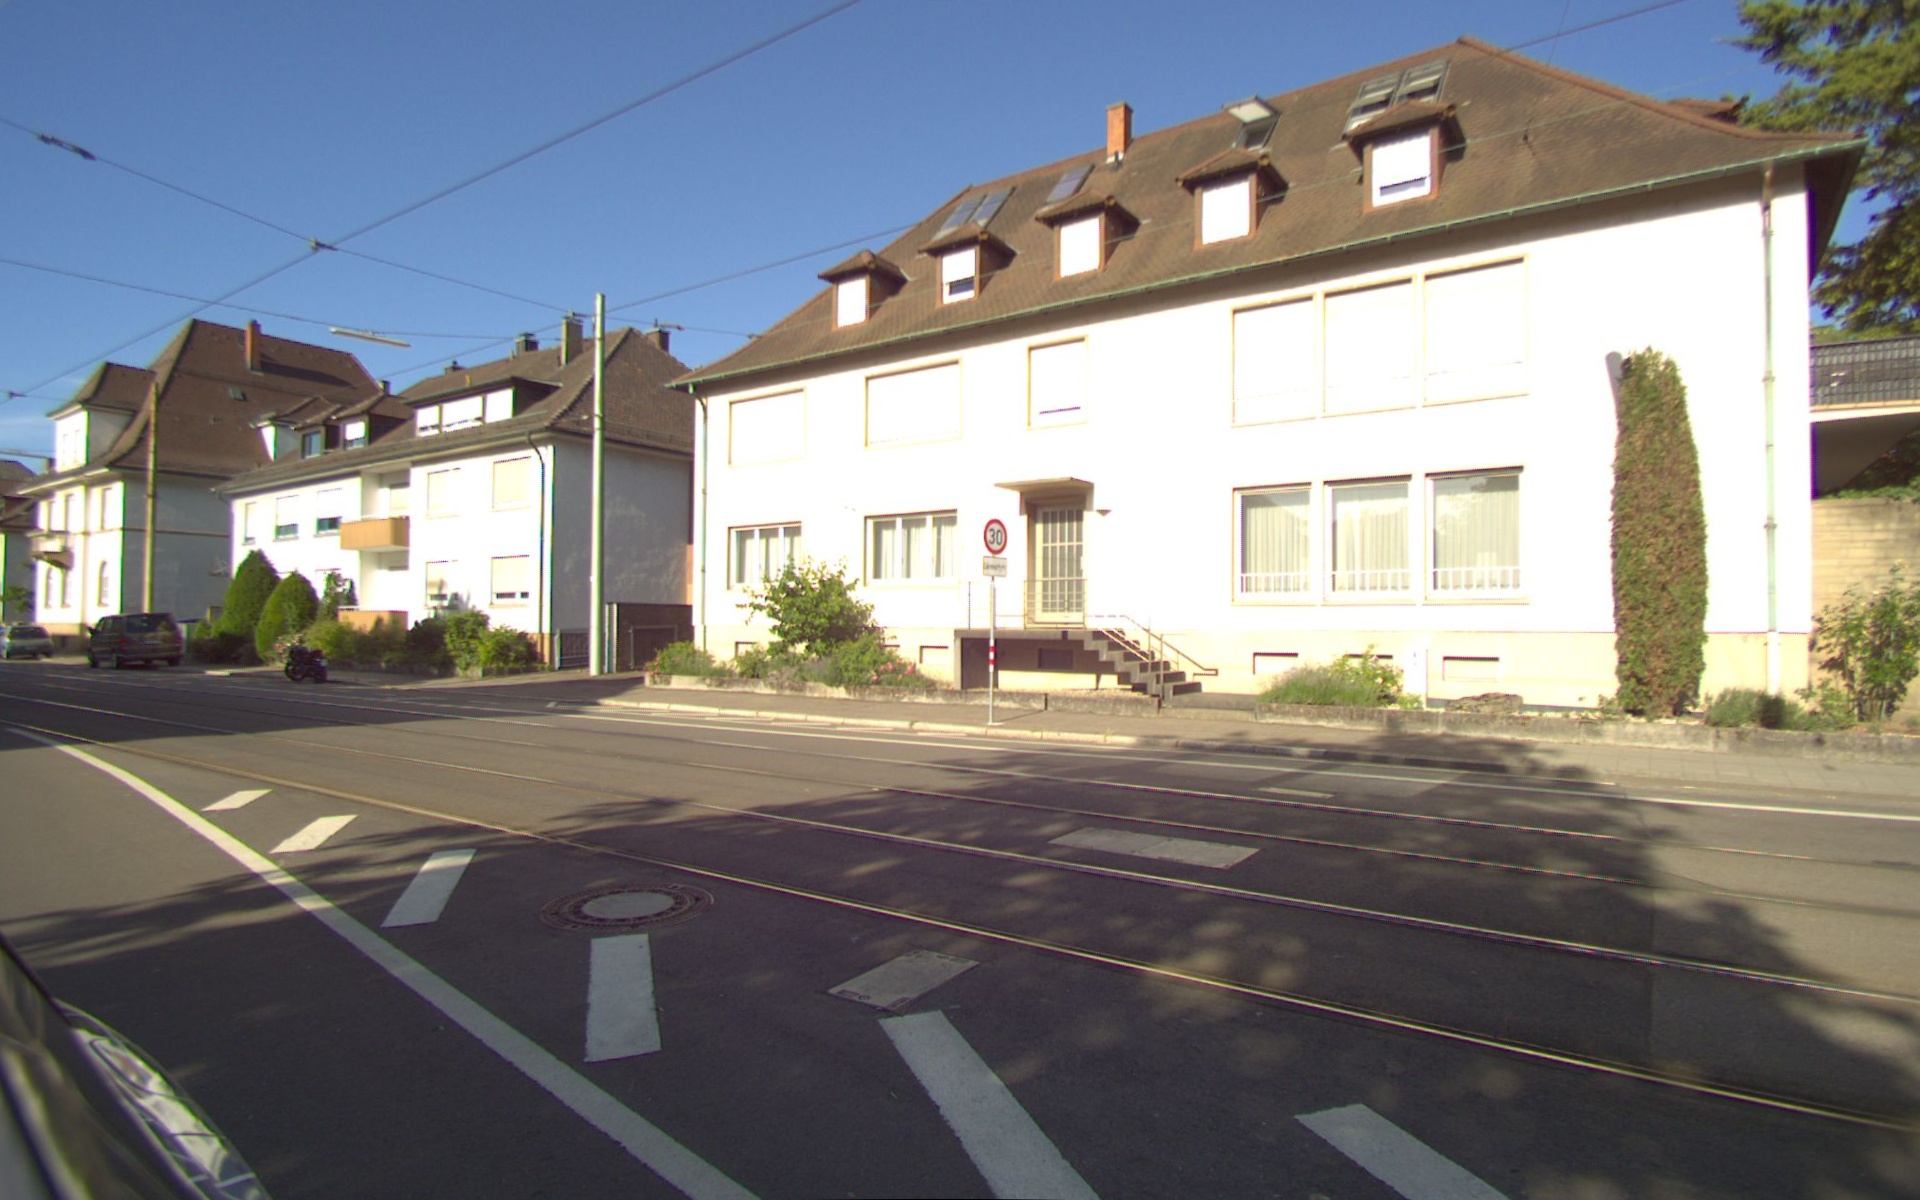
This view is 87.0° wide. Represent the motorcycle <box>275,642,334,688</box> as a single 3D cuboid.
[{"bbox_3d":[-17.862,1.755,27.565,2.167,1.171,0.531,-1,-4,36],"label":"motorcycle"}]

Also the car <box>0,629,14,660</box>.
[{"bbox_3d":[-47.041,2.108,48.310,4.236,1.488,1.650,-1,-2,32],"label":"car"}]

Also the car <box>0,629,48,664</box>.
[{"bbox_3d":[-42.061,2.030,44.854,3.827,1.488,1.662,-1,-1,36],"label":"car"}]

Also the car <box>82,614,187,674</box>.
[{"bbox_3d":[-30.074,1.536,36.816,4.941,2.029,1.888,-1,-1,38],"label":"car"}]
